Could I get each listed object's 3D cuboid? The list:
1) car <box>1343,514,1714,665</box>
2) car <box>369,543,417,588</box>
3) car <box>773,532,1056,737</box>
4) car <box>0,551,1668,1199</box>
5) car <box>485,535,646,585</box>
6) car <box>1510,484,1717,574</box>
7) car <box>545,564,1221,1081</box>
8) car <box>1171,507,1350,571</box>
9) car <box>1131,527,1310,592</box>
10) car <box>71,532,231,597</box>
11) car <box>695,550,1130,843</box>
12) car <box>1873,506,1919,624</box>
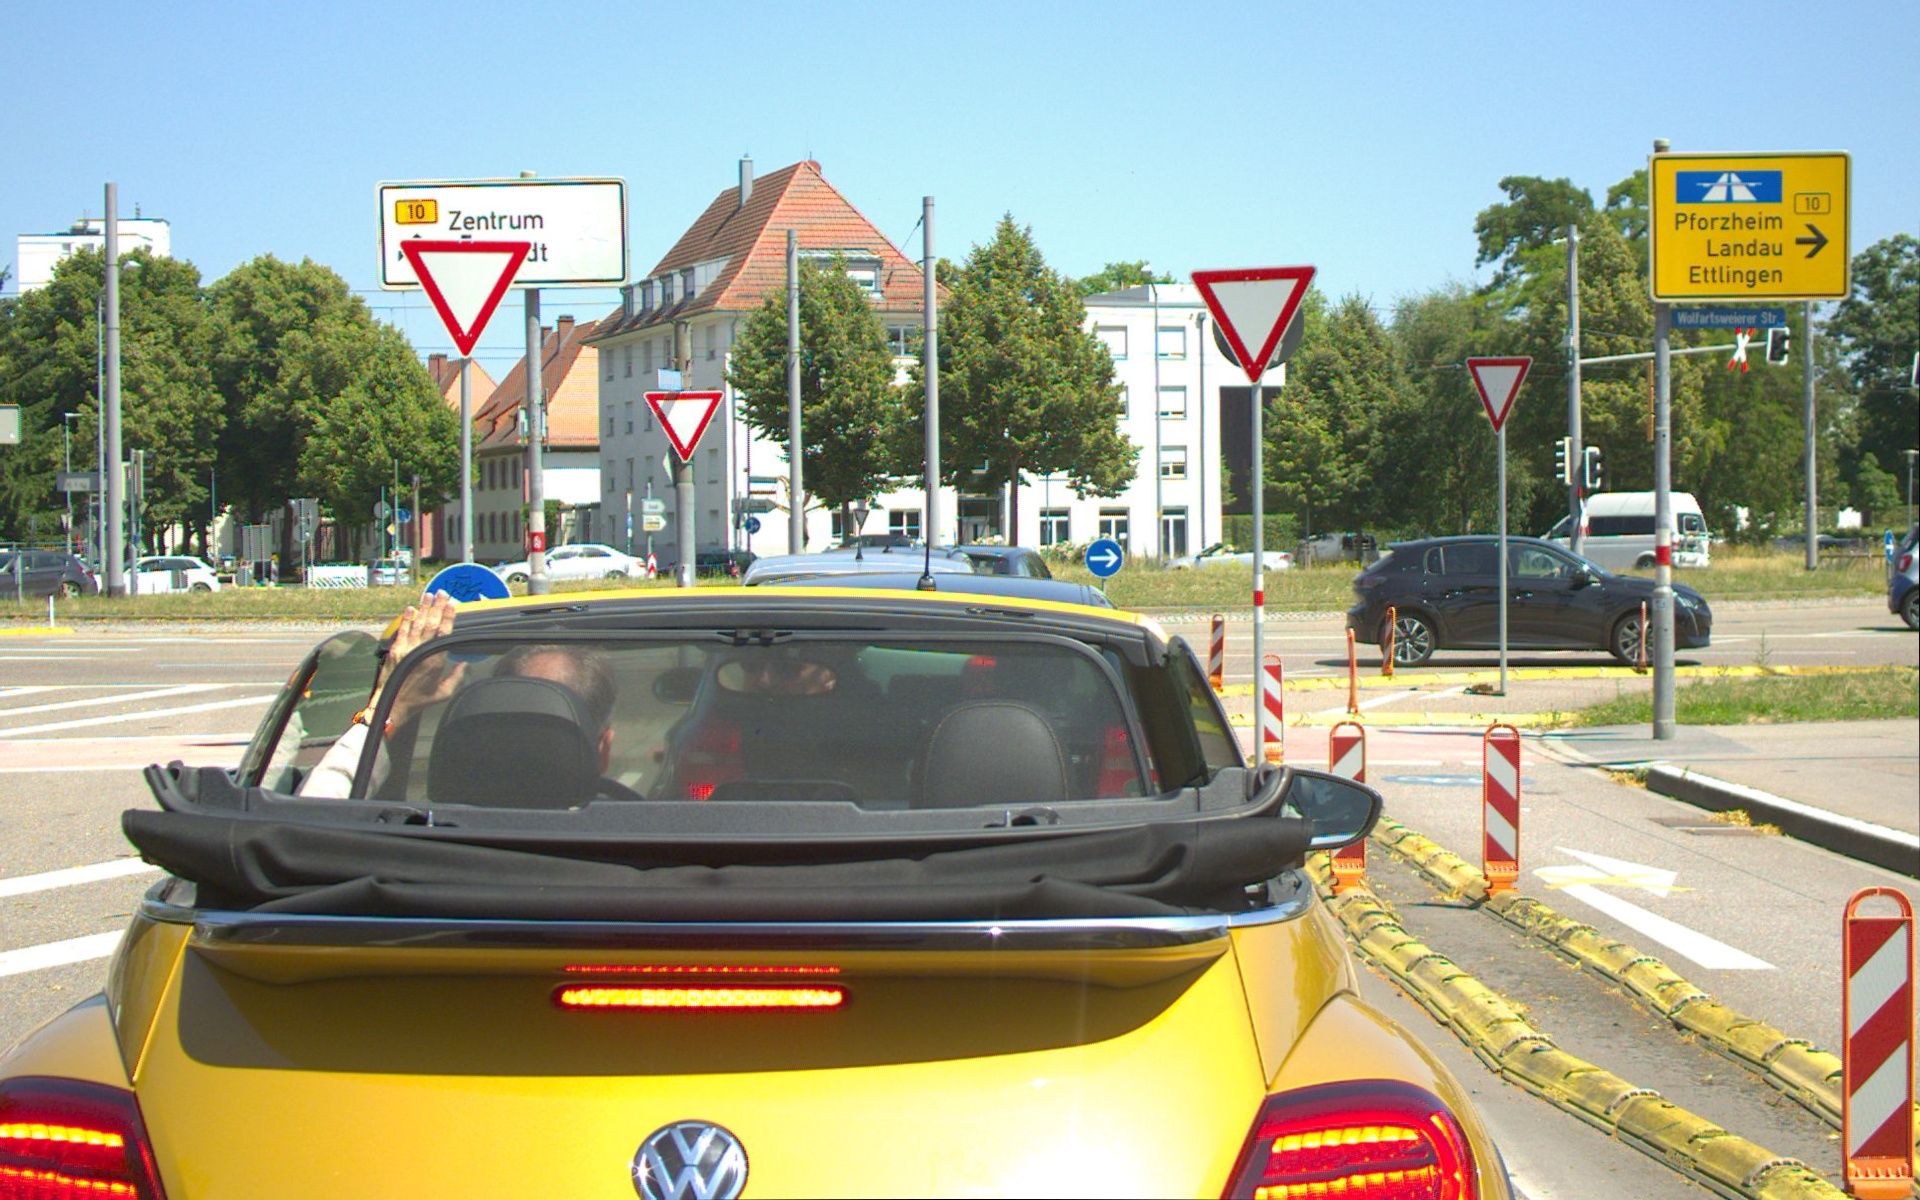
[{"bbox_3d":[6.309,-0.131,38.501,3.988,1.546,1.728,-1,3,6],"label":"car"},{"bbox_3d":[-23.381,-1.424,141.739,1.754,1.788,4.001,1,1,-7],"label":"car"},{"bbox_3d":[-0.360,0.208,27.625,2.065,1.476,4.543,-1,1,-1],"label":"car"},{"bbox_3d":[-0.305,0.681,5.096,1.765,1.476,4.258,1,1,-1],"label":"car"},{"bbox_3d":[-11.414,-1.162,99.533,4.315,1.367,1.753,1,1,-21],"label":"car"},{"bbox_3d":[17.869,-1.951,94.176,5.324,2.389,1.989,1,1,43],"label":"car"},{"bbox_3d":[-0.236,0.594,11.646,1.851,1.361,4.258,-1,1,-1],"label":"car"},{"bbox_3d":[9.485,-1.930,108.435,5.315,1.955,1.992,1,1,18],"label":"car"},{"bbox_3d":[8.251,-1.283,108.780,5.315,1.955,1.993,1,0,16],"label":"car"},{"bbox_3d":[-22.710,-0.979,96.588,3.988,1.766,1.786,0,1,-40],"label":"car"},{"bbox_3d":[-0.250,0.442,18.592,2.065,1.377,4.258,1,1,-1],"label":"car"},{"bbox_3d":[14.231,-0.439,45.660,3.989,1.547,1.727,1,1,13],"label":"car"}]
